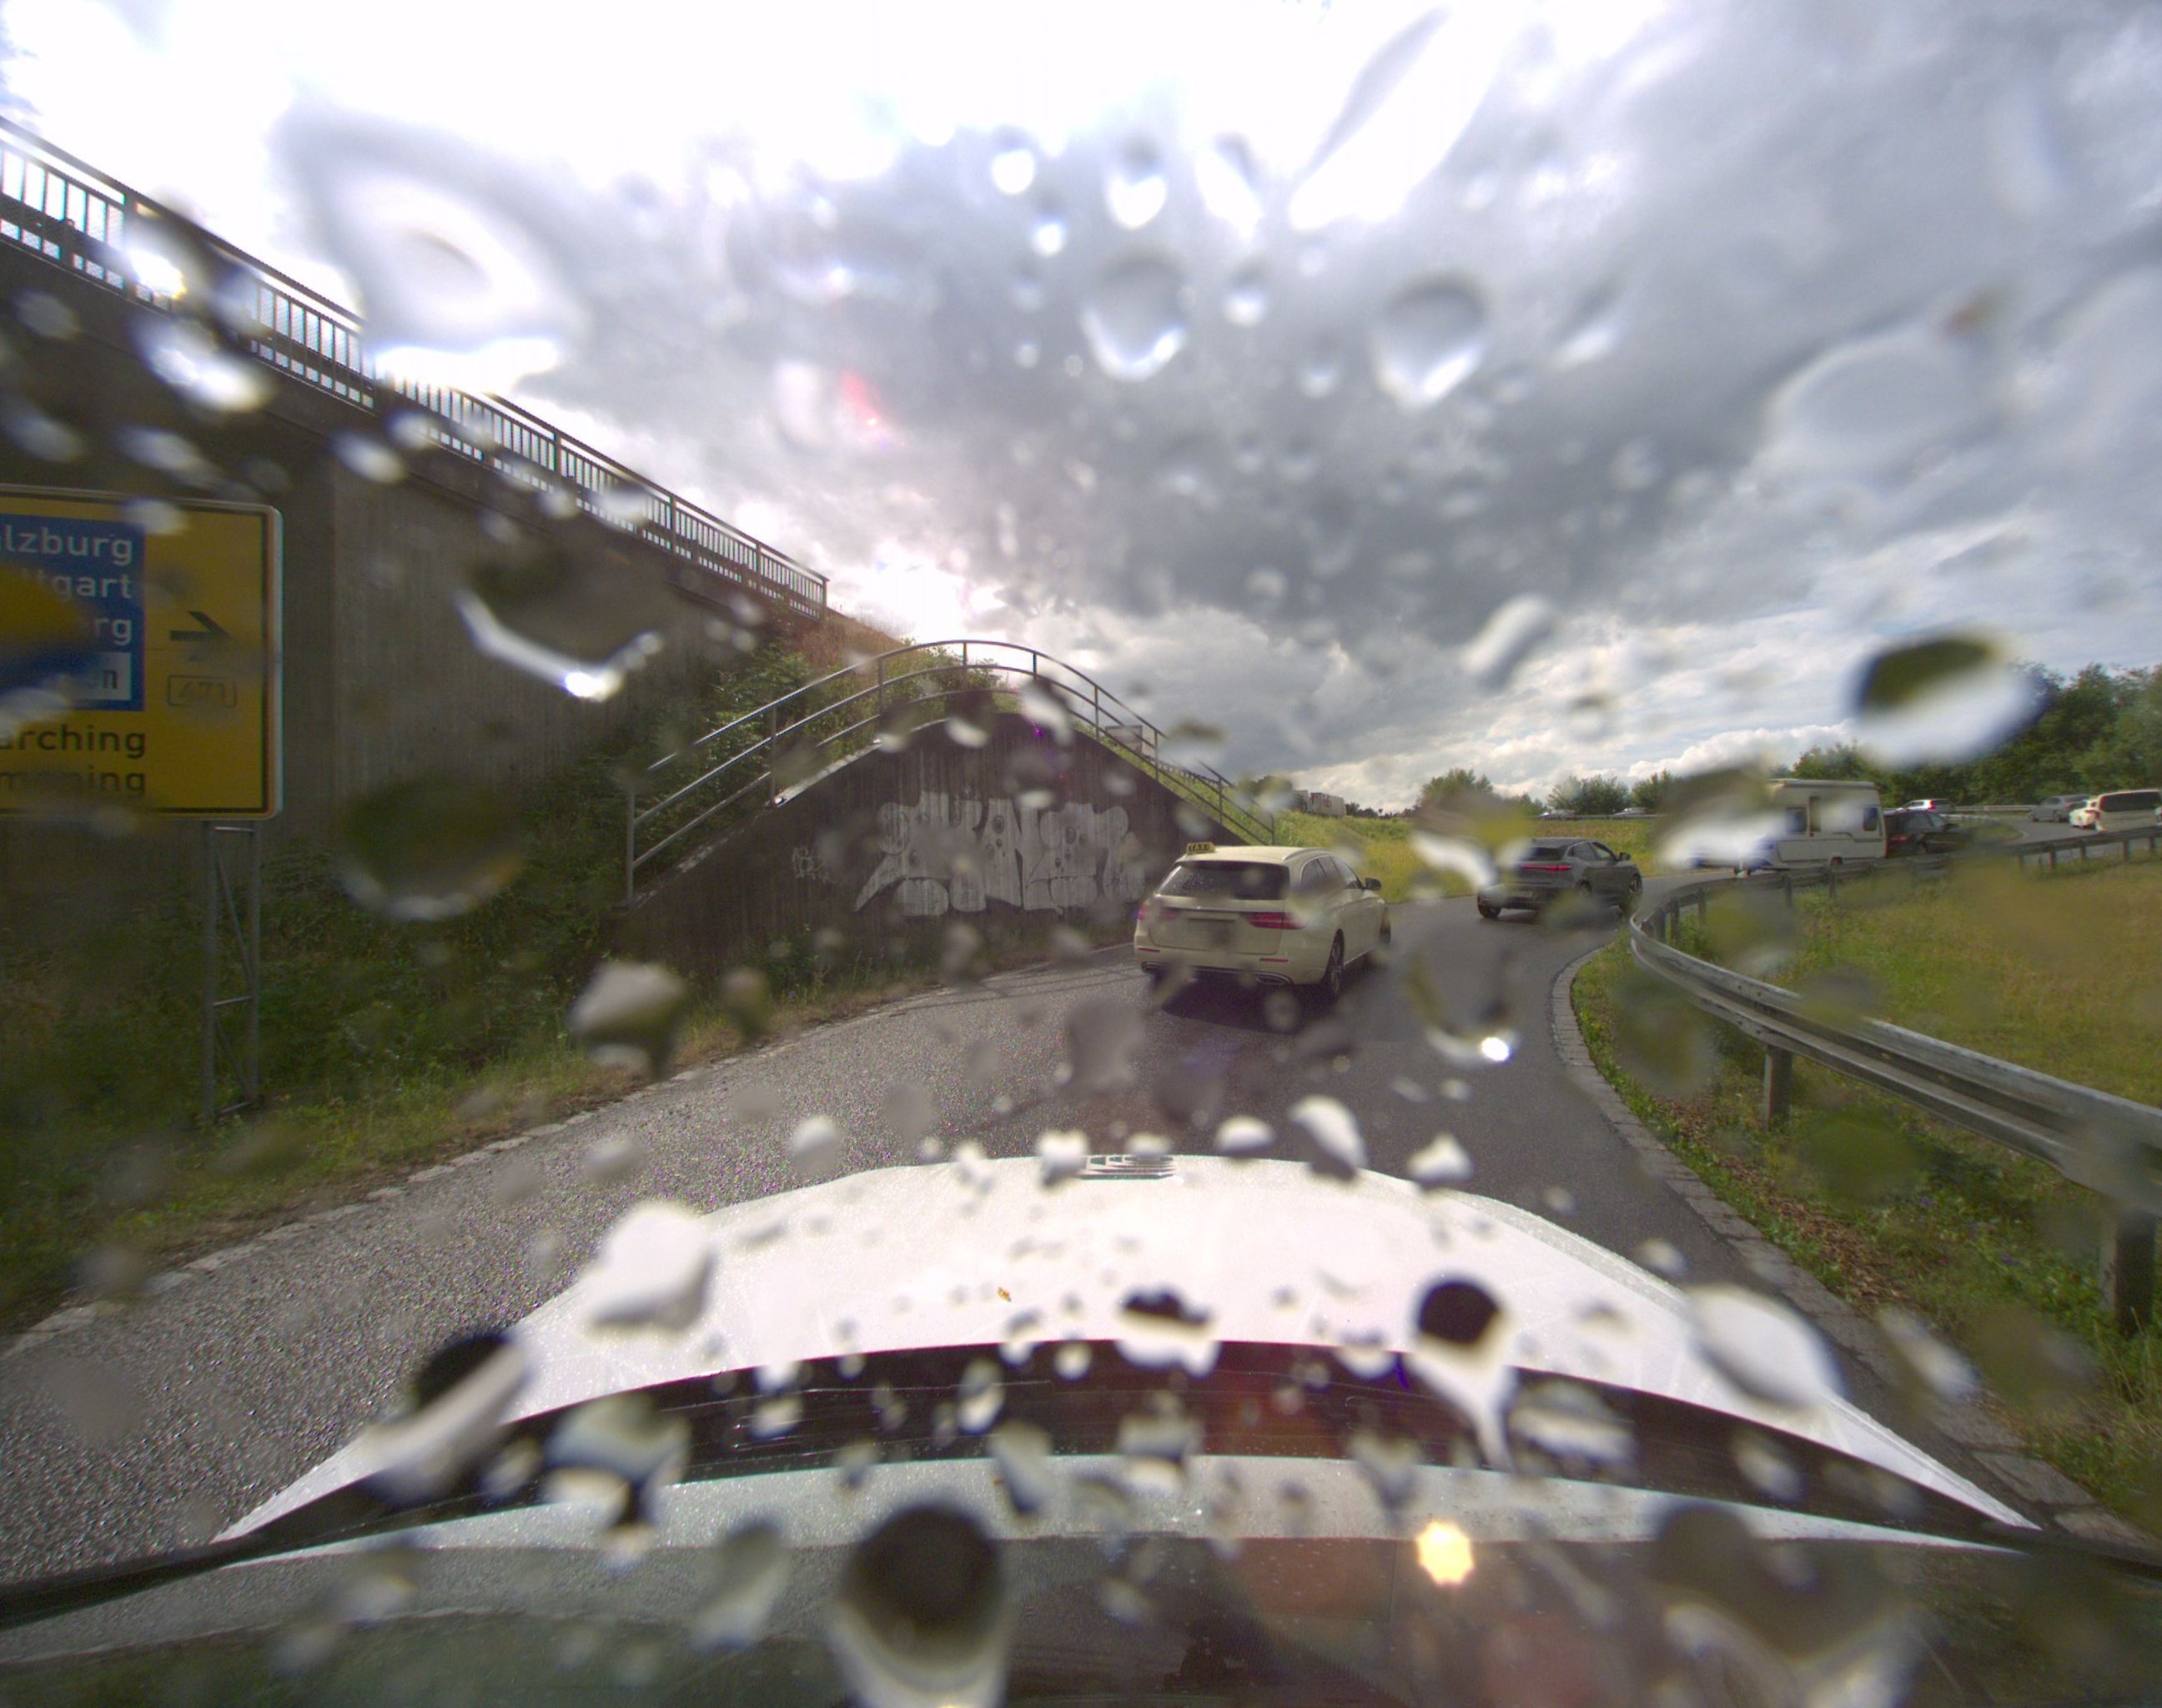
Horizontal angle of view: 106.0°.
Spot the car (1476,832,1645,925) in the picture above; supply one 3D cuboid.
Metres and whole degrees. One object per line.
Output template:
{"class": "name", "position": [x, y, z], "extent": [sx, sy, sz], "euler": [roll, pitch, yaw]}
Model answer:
{"class": "car", "position": [9.227, 0.367, 15.546], "extent": [4.023, 1.524, 1.703], "euler": [-2, 1, -43]}

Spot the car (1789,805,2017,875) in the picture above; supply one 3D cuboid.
{"class": "car", "position": [24.623, -0.462, 24.443], "extent": [5.754, 1.925, 2.423], "euler": [-1, 2, -17]}

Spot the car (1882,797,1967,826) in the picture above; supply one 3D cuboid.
{"class": "car", "position": [62.781, -3.138, 60.723], "extent": [1.650, 1.784, 5.070], "euler": [-1, 0, 9]}

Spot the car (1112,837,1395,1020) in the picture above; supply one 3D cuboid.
{"class": "car", "position": [2.234, 0.588, 9.219], "extent": [1.898, 1.507, 4.624], "euler": [-1, 1, 28]}

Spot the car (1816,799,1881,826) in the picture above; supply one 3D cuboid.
{"class": "car", "position": [64.877, -3.491, 68.926], "extent": [1.983, 2.014, 4.007], "euler": [0, -1, 7]}

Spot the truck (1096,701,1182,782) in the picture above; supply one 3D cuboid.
{"class": "truck", "position": [4.144, -7.430, 55.465], "extent": [3.153, 3.966, 9.285], "euler": [0, -1, 22]}

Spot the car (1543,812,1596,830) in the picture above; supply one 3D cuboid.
{"class": "car", "position": [58.240, -3.884, 97.211], "extent": [2.005, 1.861, 5.010], "euler": [-1, -1, -29]}

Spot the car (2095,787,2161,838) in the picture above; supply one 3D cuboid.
{"class": "car", "position": [42.273, -1.603, 32.309], "extent": [5.075, 1.861, 1.980], "euler": [-1, -1, -32]}

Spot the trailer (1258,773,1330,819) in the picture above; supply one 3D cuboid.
{"class": "trailer", "position": [27.290, -7.101, 102.962], "extent": [4.372, 3.956, 20.338], "euler": [0, -1, 28]}

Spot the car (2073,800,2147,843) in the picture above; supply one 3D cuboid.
{"class": "car", "position": [49.077, -1.515, 38.916], "extent": [5.083, 1.861, 1.976], "euler": [-1, -1, -40]}

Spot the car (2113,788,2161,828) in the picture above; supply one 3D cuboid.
{"class": "car", "position": [54.618, -2.326, 41.048], "extent": [1.974, 1.861, 5.090], "euler": [-2, -1, 37]}

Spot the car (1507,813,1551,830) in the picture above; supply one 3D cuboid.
{"class": "car", "position": [56.630, -4.069, 102.935], "extent": [2.009, 1.861, 4.461], "euler": [-1, -1, -36]}

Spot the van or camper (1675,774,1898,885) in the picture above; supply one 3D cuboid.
{"class": "van or camper", "position": [19.450, -0.699, 22.422], "extent": [6.011, 2.729, 2.419], "euler": [-2, 1, -25]}

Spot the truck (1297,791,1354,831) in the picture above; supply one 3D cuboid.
{"class": "truck", "position": [36.380, -6.166, 120.365], "extent": [4.418, 4.503, 19.491], "euler": [0, -1, 28]}

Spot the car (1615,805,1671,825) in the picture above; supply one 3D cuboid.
{"class": "car", "position": [61.885, -4.285, 89.782], "extent": [1.997, 1.861, 5.032], "euler": [-1, -1, -14]}

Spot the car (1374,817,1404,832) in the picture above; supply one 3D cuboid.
{"class": "car", "position": [43.649, -4.193, 115.414], "extent": [3.952, 2.014, 1.836], "euler": [0, -1, 22]}

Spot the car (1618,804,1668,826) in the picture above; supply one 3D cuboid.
{"class": "car", "position": [61.565, -4.233, 89.285], "extent": [2.003, 2.014, 3.967], "euler": [0, -2, -25]}

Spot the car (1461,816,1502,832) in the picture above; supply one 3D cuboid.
{"class": "car", "position": [54.600, -4.076, 111.169], "extent": [2.000, 1.861, 5.022], "euler": [-1, -1, -20]}
